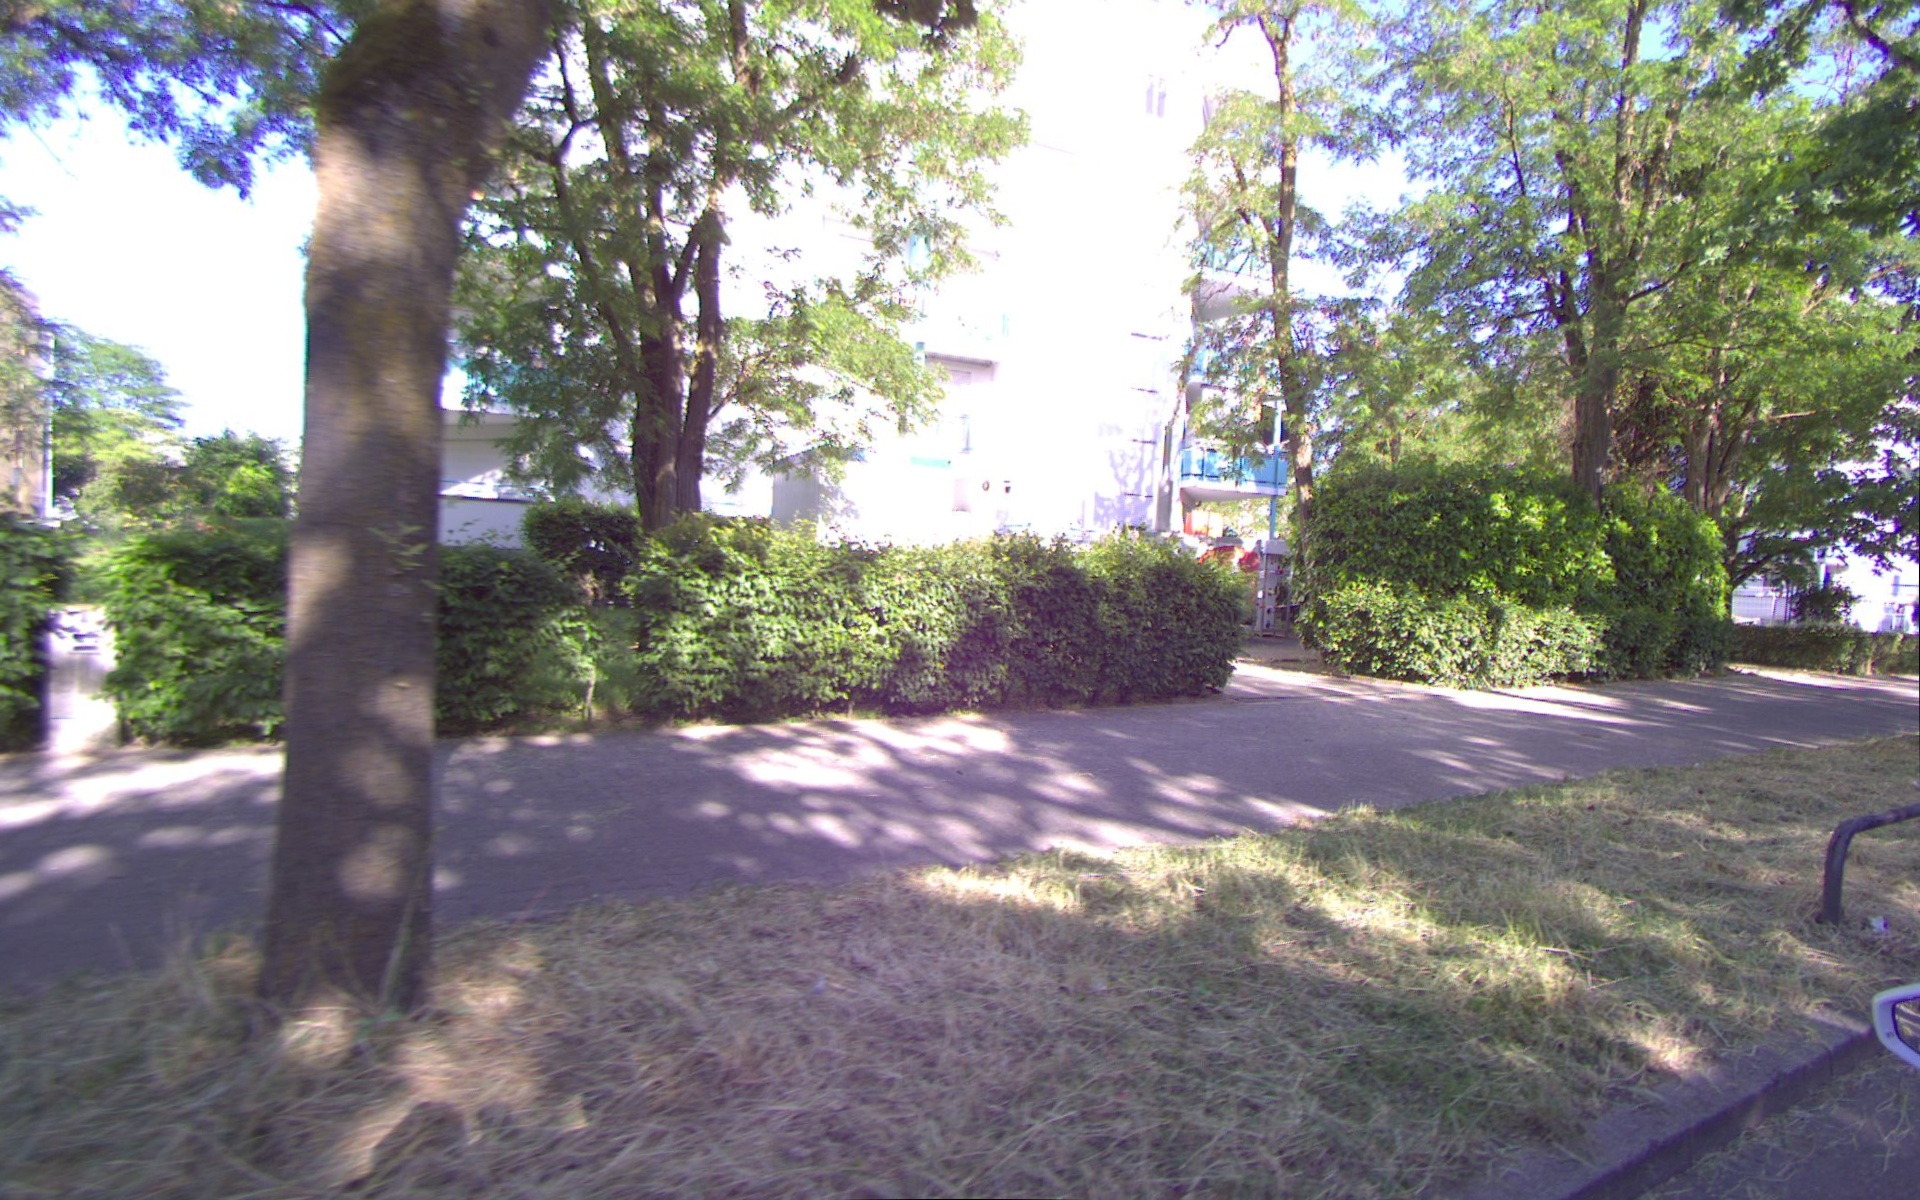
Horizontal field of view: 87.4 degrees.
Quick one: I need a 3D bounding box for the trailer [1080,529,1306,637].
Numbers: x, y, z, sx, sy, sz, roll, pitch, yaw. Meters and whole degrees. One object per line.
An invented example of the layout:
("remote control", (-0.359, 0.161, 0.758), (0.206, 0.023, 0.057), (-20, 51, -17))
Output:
("trailer", (4.991, -0.334, 21.477), (4.370, 2.070, 1.970), (2, 2, -25))
